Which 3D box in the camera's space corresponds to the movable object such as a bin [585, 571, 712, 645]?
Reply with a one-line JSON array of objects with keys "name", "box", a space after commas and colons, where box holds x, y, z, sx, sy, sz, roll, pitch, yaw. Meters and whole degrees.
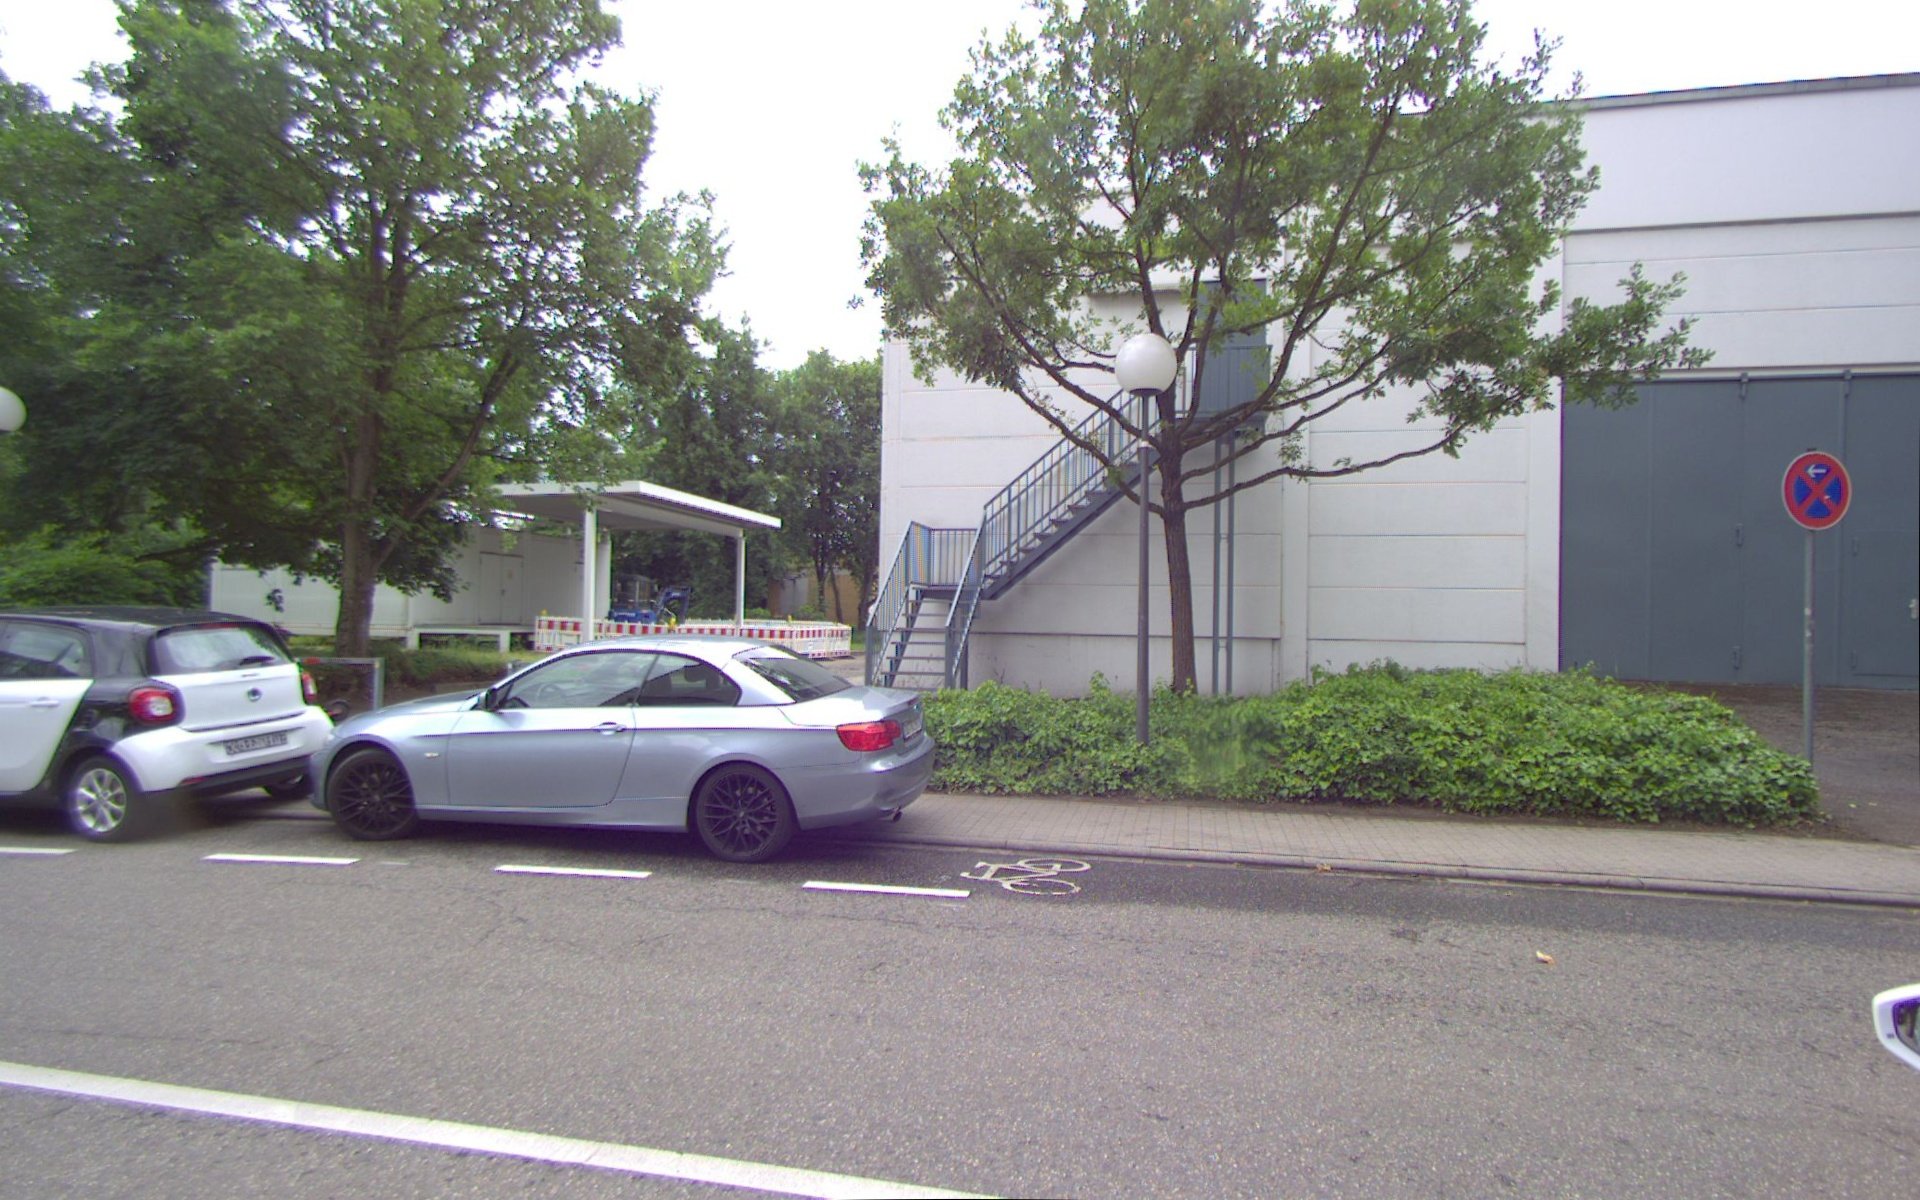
[{"name": "movable object such as a bin", "box": [-9.903, 0.324, 32.386, 1.959, 2.200, 4.674, 1, -2, 9]}]

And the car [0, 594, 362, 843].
[{"name": "car", "box": [-6.892, 0.776, 7.697, 3.799, 1.607, 1.722, 0, -1, 12]}]

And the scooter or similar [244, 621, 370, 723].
[{"name": "scooter or similar", "box": [-8.213, 0.885, 12.662, 1.294, 1.226, 0.446, 1, -1, -37]}]

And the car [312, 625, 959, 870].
[{"name": "car", "box": [-2.191, 0.927, 7.339, 4.109, 1.407, 1.825, 1, -1, 10]}]
